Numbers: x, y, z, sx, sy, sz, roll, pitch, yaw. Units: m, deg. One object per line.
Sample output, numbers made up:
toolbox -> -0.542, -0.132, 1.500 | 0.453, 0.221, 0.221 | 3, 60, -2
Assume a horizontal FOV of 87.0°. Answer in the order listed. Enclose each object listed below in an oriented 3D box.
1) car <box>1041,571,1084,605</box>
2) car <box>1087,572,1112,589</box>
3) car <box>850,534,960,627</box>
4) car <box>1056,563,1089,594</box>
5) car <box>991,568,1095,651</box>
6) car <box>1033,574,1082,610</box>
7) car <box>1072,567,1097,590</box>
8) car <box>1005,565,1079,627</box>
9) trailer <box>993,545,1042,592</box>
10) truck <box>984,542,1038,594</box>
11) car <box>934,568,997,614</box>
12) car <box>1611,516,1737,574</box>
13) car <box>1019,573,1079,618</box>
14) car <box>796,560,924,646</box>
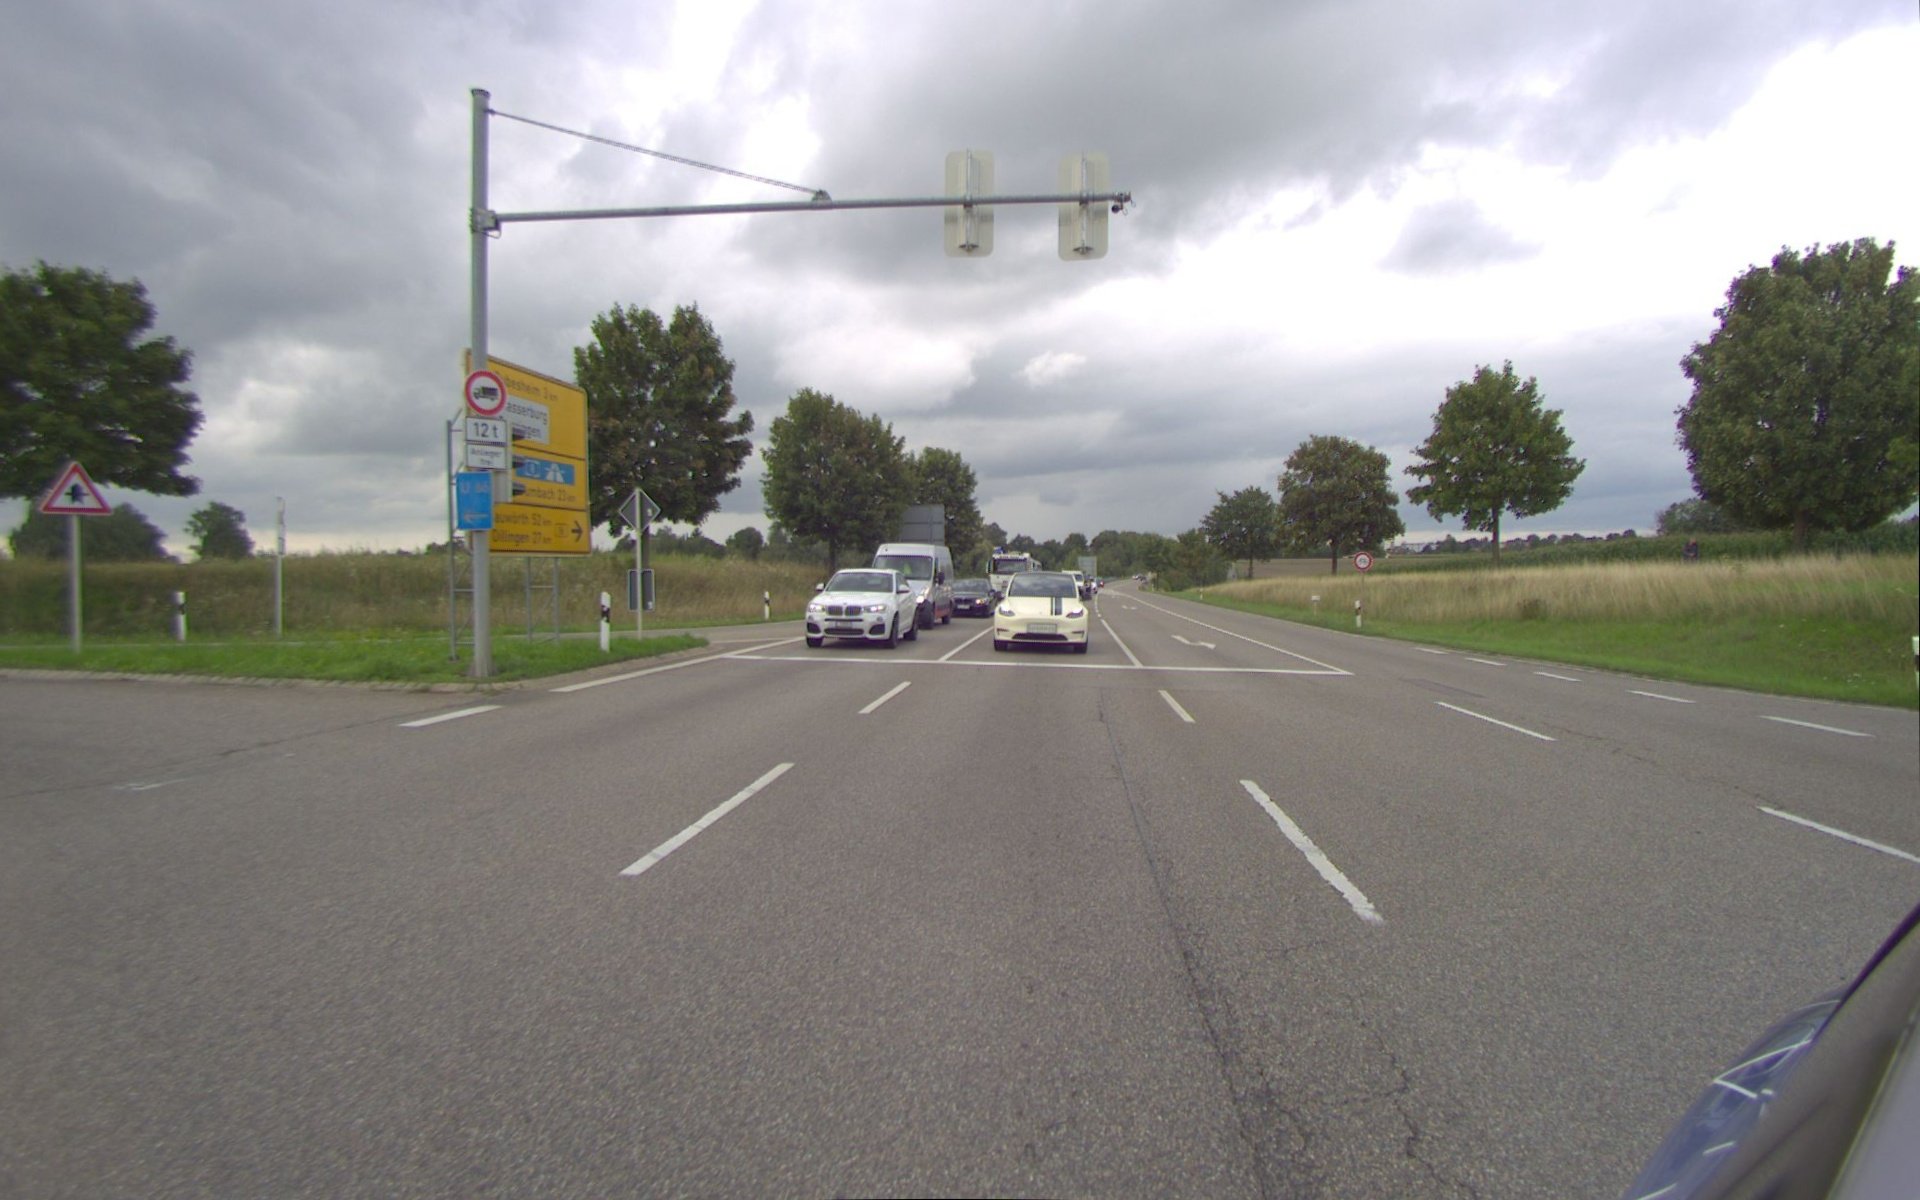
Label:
car -> 5.034, -0.623, 49.834 | 1.965, 1.612, 4.441 | 1, 1, 6
car -> 14.058, -1.991, 102.354 | 2.130, 1.616, 4.753 | 1, 1, 3
car -> -1.495, -0.588, 30.167 | 2.357, 2.472, 5.503 | -1, 1, 7
car -> 7.697, -1.483, 68.900 | 2.133, 2.038, 4.671 | 1, 1, 7
car -> 1.835, 0.128, 21.784 | 1.965, 1.584, 4.741 | -1, 1, 6
car -> 4.258, -0.392, 43.710 | 1.966, 1.436, 4.439 | 1, 1, 7
car -> 11.218, -1.952, 91.128 | 2.133, 2.038, 4.518 | 1, 1, 7
car -> 2.438, -0.171, 29.429 | 1.965, 1.649, 4.316 | -1, 1, 6
trailer -> 4.322, -2.286, 74.346 | 3.055, 3.129, 10.645 | 1, 1, 6
truck -> 3.376, -2.070, 65.387 | 3.055, 3.148, 7.395 | 1, 1, 6
car -> 0.268, -0.379, 38.705 | 1.965, 1.649, 4.268 | -1, 1, 6
car -> 27.547, -2.087, 39.229 | 1.962, 2.039, 4.001 | -2, 1, -1
car -> 3.163, -0.223, 35.840 | 1.965, 1.473, 4.575 | 1, 1, 6
car -> -2.033, -0.001, 21.871 | 1.965, 1.649, 4.269 | 1, 1, 6
